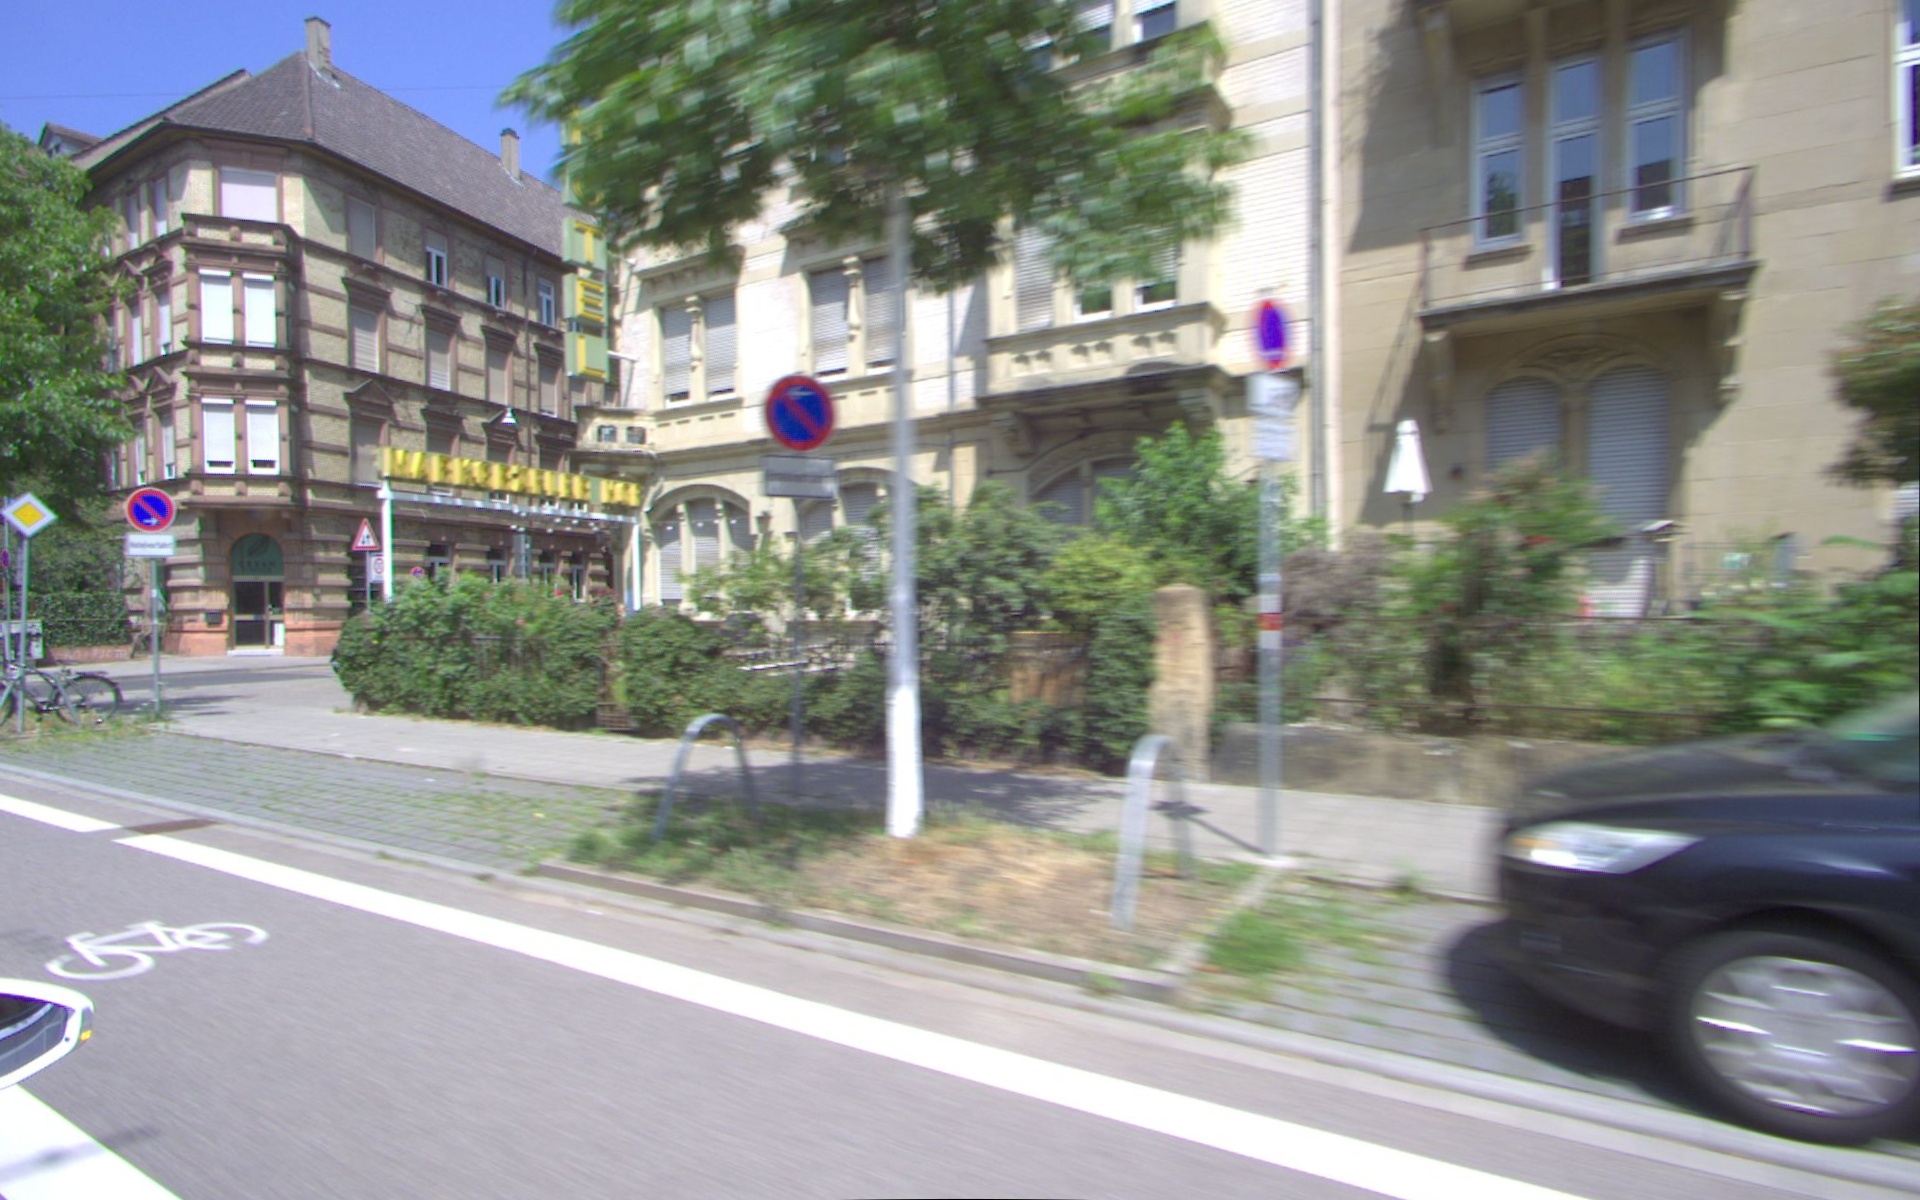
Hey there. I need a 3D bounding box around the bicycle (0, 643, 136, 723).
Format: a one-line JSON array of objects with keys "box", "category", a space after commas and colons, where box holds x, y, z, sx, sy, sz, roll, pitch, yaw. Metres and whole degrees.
[{"box": [-12.098, 1.077, 13.201, 0.496, 0.966, 1.838, 0, 0, 33], "category": "bicycle"}]

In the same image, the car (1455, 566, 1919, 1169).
[{"box": [3.844, 0.694, 2.753, 4.340, 1.556, 1.727, -1, -1, 32], "category": "car"}]

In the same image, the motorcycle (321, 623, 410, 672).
[{"box": [-14.008, 1.123, 23.613, 1.849, 1.138, 0.510, 0, 0, 5], "category": "motorcycle"}]
